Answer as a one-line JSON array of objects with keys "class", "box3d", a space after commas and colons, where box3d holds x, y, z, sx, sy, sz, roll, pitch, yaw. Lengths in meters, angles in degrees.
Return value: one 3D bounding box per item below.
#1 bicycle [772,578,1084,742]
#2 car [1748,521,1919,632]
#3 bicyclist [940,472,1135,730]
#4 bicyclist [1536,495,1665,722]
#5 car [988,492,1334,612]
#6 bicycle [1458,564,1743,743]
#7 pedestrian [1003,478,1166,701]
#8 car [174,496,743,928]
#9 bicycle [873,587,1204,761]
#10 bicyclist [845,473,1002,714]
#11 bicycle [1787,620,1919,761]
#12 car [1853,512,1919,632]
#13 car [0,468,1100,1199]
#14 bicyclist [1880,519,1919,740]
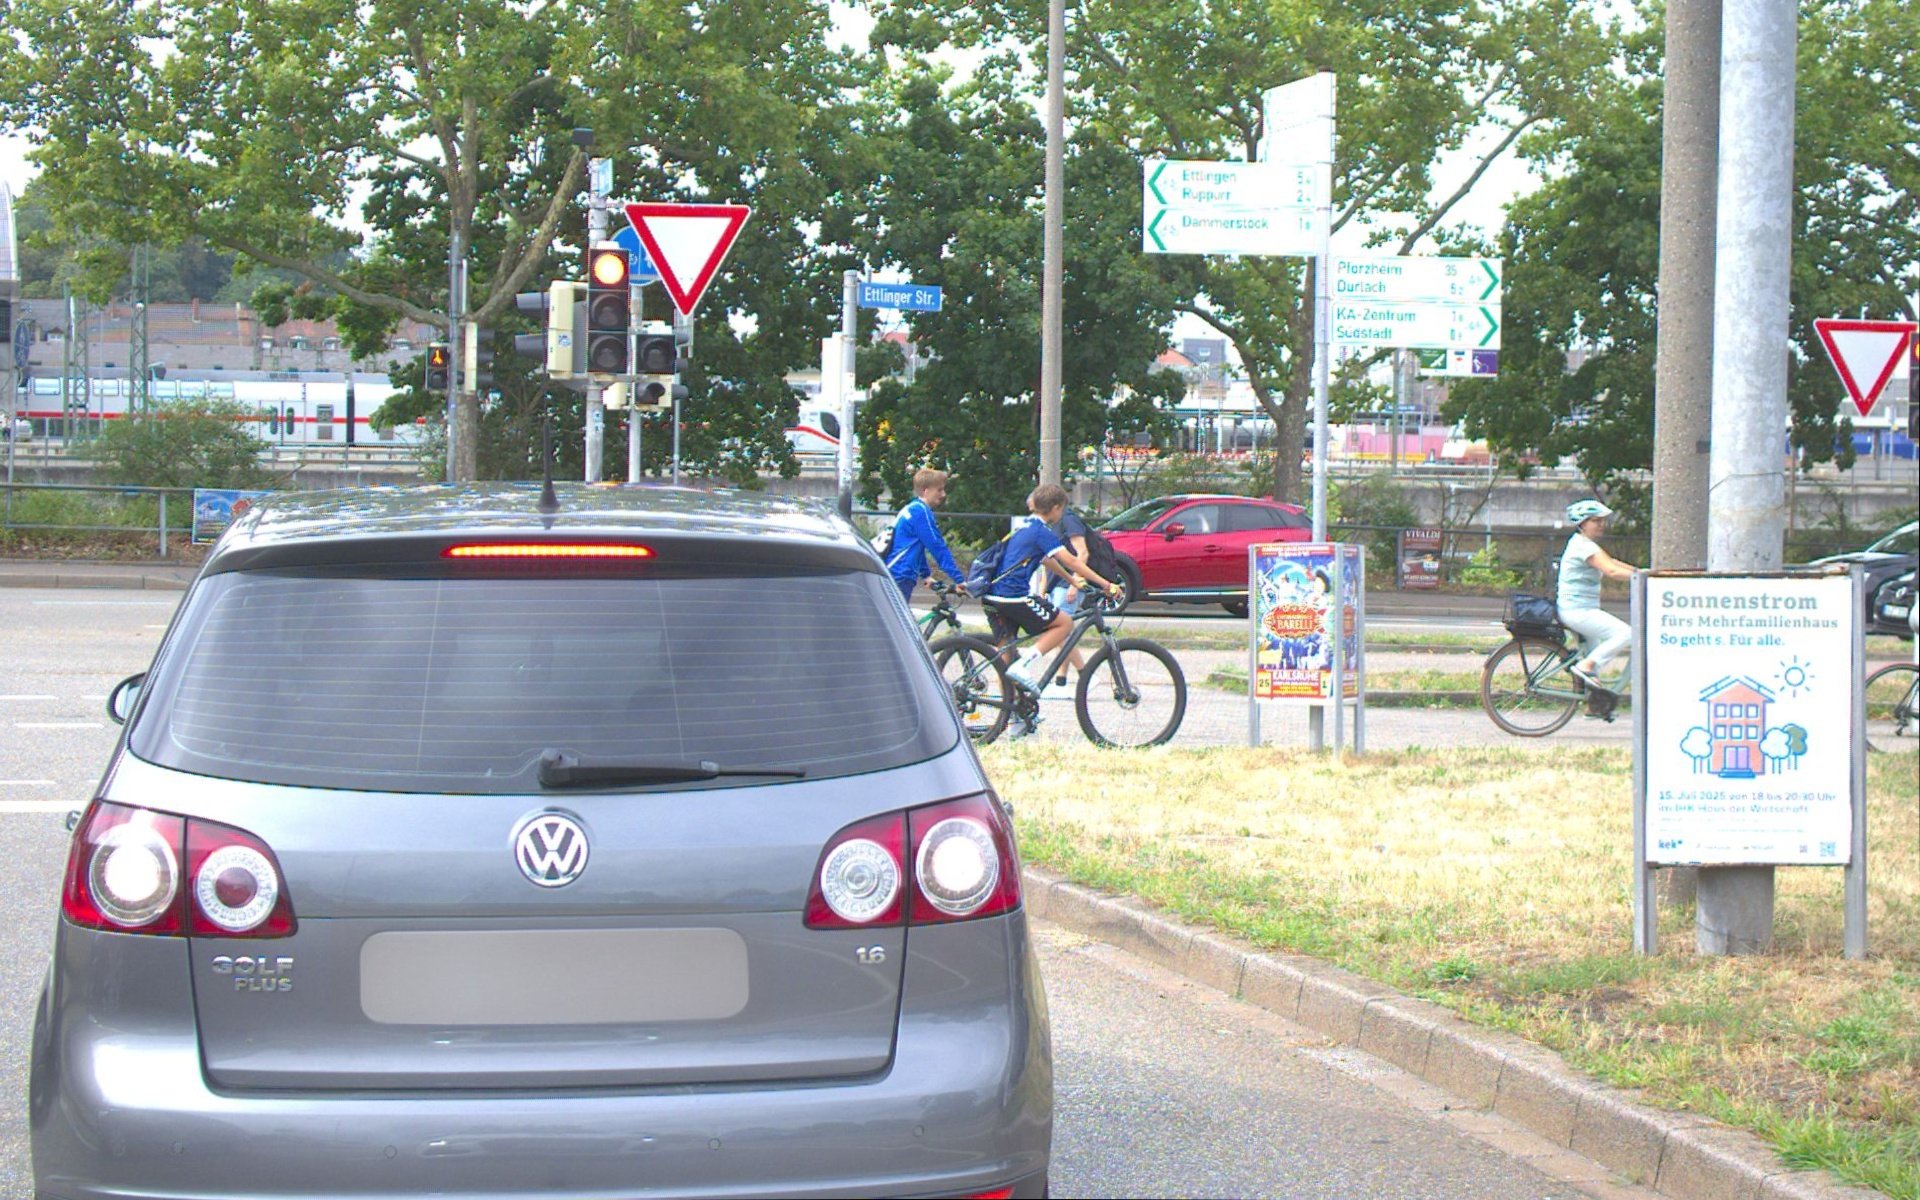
[{"class": "bicycle", "box3d": [-0.209, 0.382, 22.270, 1.900, 1.010, 0.629, 0, 2, -18]}, {"class": "car", "box3d": [13.086, -0.327, 46.687, 4.327, 1.443, 1.762, 0, 2, -17]}, {"class": "bicyclist", "box3d": [0.467, 0.000, 20.933, 1.016, 1.534, 0.629, 0, 2, -17]}, {"class": "bicyclist", "box3d": [4.550, 0.053, 24.462, 0.779, 1.575, 0.655, 1, 2, 2]}, {"class": "car", "box3d": [2.503, -0.598, 42.942, 3.950, 1.443, 1.703, 0, 2, -20]}, {"class": "bicycle", "box3d": [4.545, 0.370, 24.483, 1.901, 1.206, 0.643, 1, 2, 2]}, {"class": "pedestrian", "box3d": [0.973, -0.091, 27.089, 1.047, 1.704, 0.854, 1, 2, -12]}, {"class": "car", "box3d": [-2.181, 0.336, 13.953, 1.740, 1.477, 4.083, 0, 1, -16]}, {"class": "bicycle", "box3d": [0.476, 0.445, 20.968, 1.900, 1.010, 0.629, 0, 2, -17]}, {"class": "bicyclist", "box3d": [-0.240, -0.049, 22.238, 0.838, 1.524, 0.629, 0, 2, -18]}, {"class": "bicycle", "box3d": [6.901, 0.605, 22.937, 2.583, 0.887, 0.705, 1, 2, -8]}, {"class": "car", "box3d": [13.477, -0.347, 42.655, 4.327, 1.443, 1.762, 0, 2, -17]}, {"class": "car", "box3d": [-0.949, 0.530, 7.237, 1.740, 1.541, 4.083, 1, 1, -8]}, {"class": "bicyclist", "box3d": [6.809, 0.190, 22.901, 1.113, 1.431, 0.648, 0, 2, -8]}]
